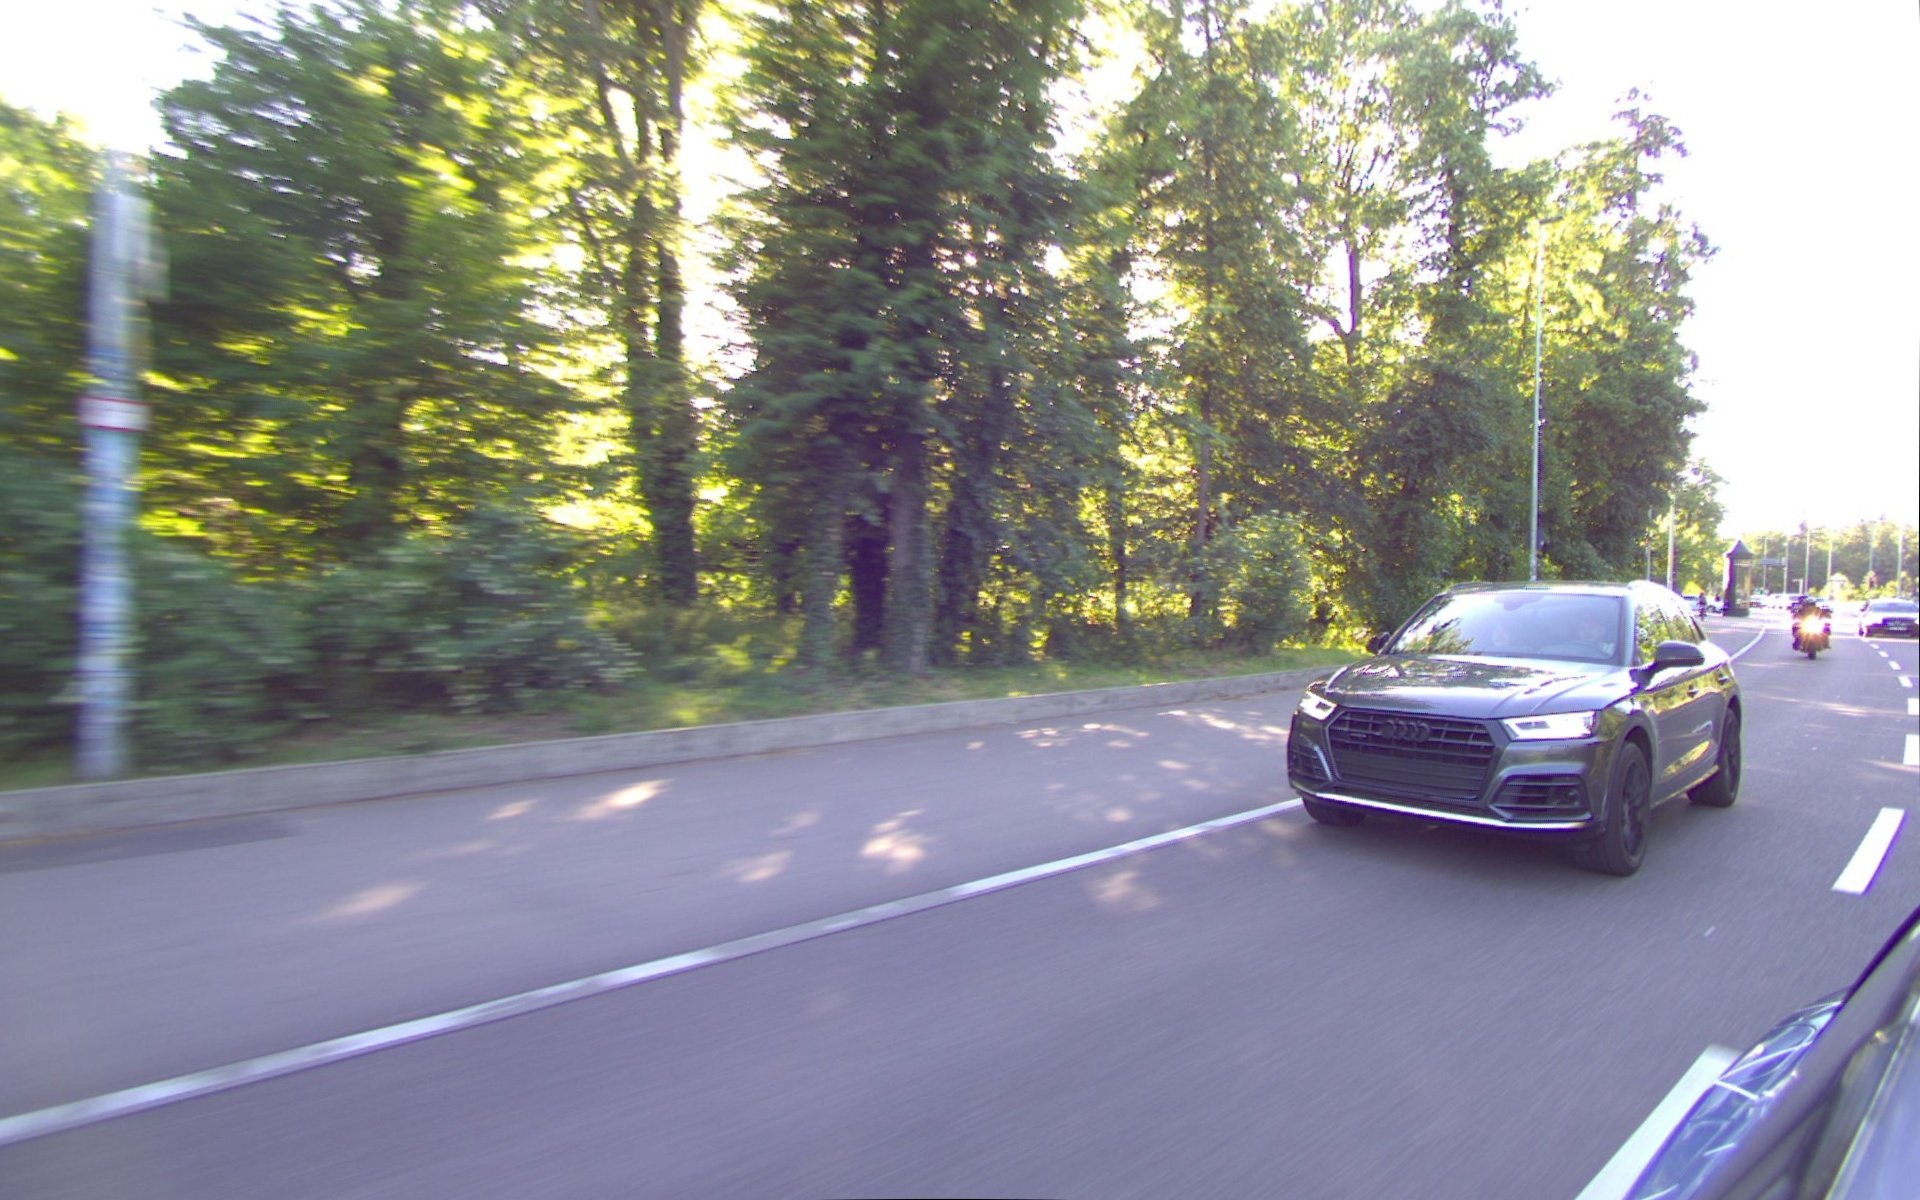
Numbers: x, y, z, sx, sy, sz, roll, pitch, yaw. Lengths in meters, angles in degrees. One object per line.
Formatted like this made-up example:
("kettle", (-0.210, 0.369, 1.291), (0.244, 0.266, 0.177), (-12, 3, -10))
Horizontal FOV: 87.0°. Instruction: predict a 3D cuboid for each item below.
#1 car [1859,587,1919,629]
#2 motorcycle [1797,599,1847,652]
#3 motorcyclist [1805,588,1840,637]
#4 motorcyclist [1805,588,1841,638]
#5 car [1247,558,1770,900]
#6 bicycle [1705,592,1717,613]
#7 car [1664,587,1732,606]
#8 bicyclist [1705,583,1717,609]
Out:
("car", (37.093, 0.268, 39.956), (1.857, 1.566, 4.735), (1, 1, 35))
("motorcycle", (22.593, 0.631, 26.559), (0.912, 1.266, 2.920), (1, 2, 39))
("motorcyclist", (23.073, 0.312, 27.086), (0.668, 1.280, 0.815), (0, 0, 37))
("motorcyclist", (22.526, 0.323, 26.428), (0.668, 1.280, 0.815), (0, 0, 37))
("car", (4.034, 0.593, 7.050), (4.468, 1.625, 1.895), (-1, 0, -43))
("bicycle", (42.994, 0.141, 57.947), (0.552, 1.151, 1.839), (0, 0, 36))
("car", (62.537, -0.341, 85.835), (1.790, 1.395, 4.377), (-1, 3, -44))
("bicyclist", (43.014, -0.214, 57.970), (0.519, 1.487, 0.850), (-1, 0, 37))
